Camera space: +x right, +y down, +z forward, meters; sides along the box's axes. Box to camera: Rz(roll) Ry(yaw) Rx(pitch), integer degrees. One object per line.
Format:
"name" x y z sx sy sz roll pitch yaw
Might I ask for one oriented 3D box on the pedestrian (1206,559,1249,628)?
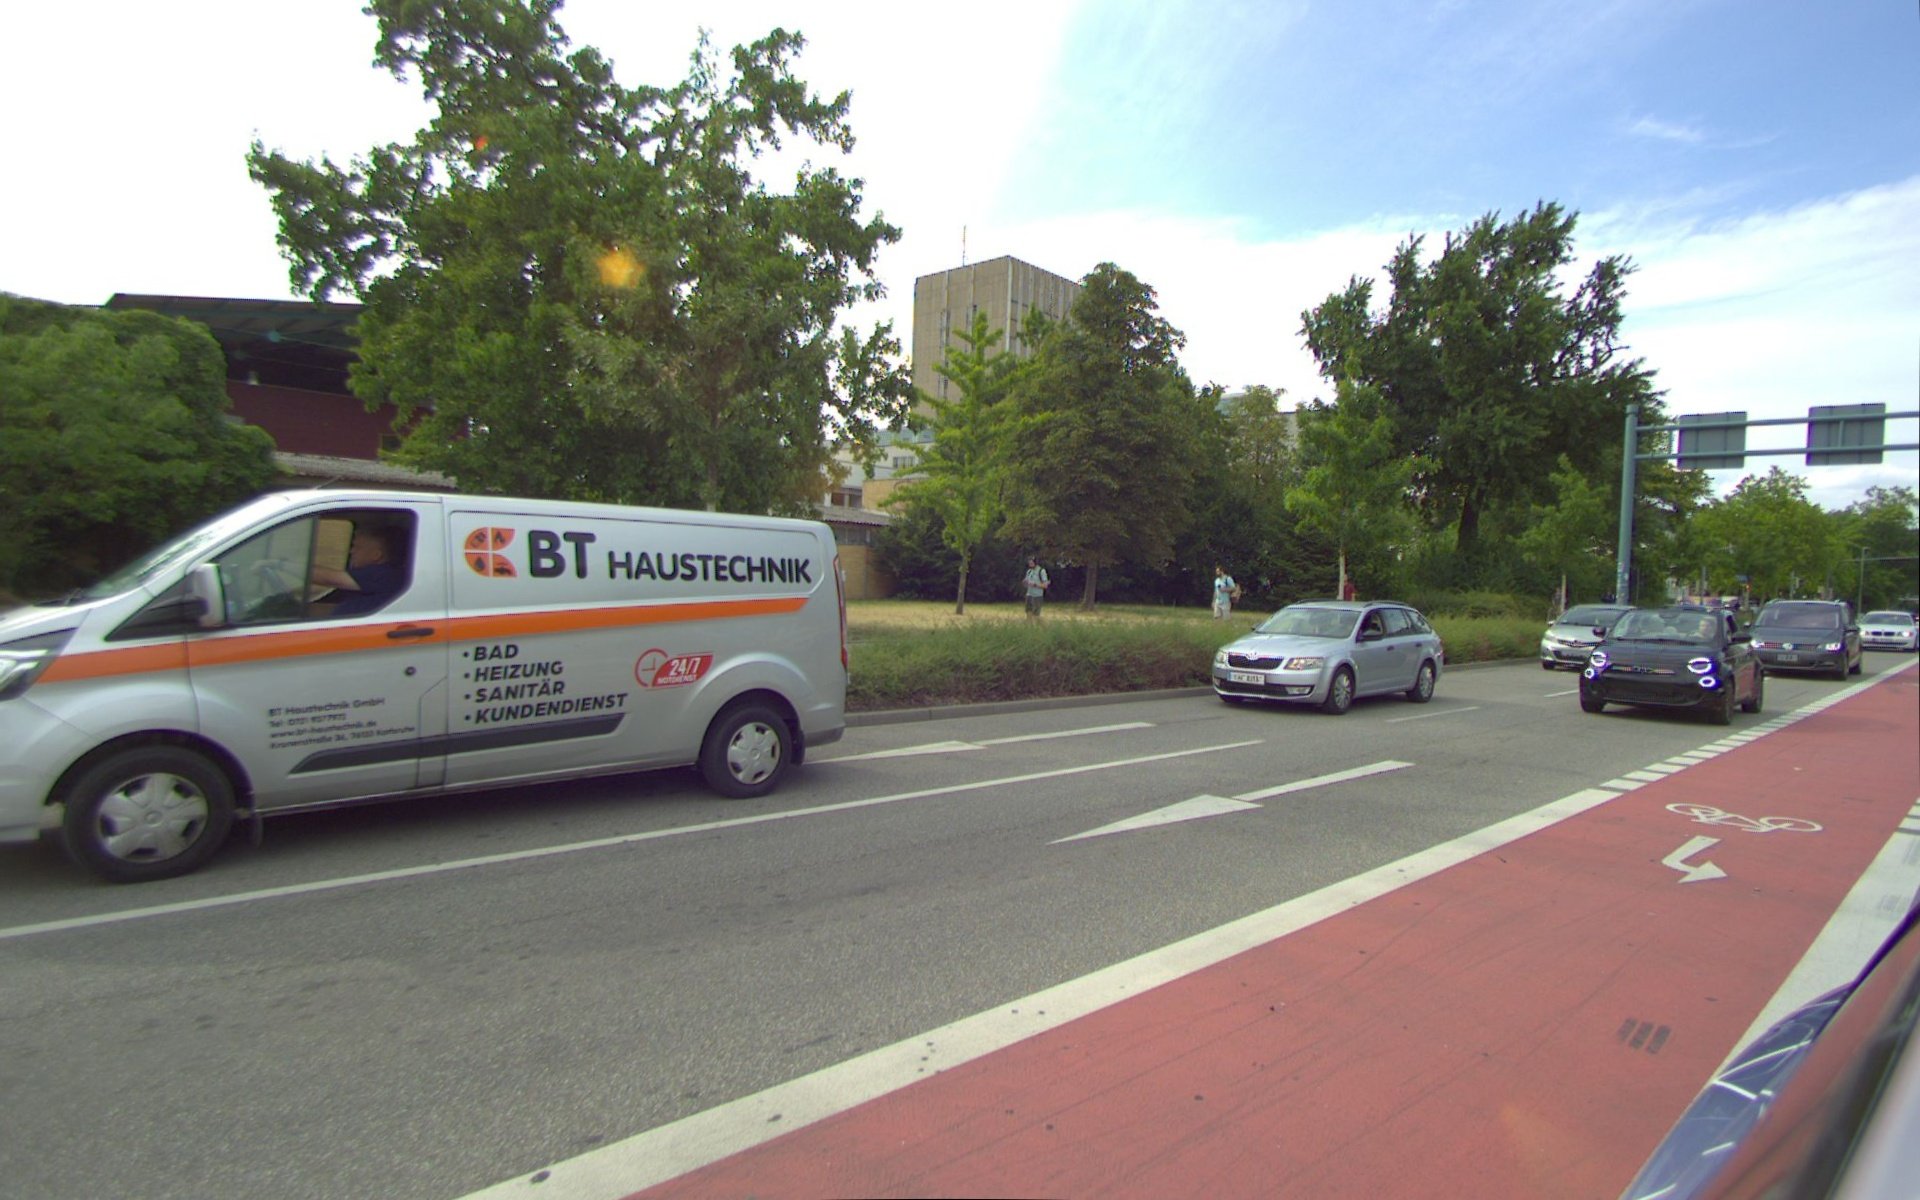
"pedestrian" 6.831 -0.178 25.864 0.839 1.732 0.684 1 0 44

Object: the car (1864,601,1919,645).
"car" 33.628 0.780 36.068 4.152 1.476 1.757 0 1 -43

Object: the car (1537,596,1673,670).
"car" 14.512 0.673 22.690 3.810 1.508 1.668 0 1 -43

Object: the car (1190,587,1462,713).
"car" 5.316 0.591 14.381 4.452 1.493 1.821 0 1 -43

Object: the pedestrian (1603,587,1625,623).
"pedestrian" 31.937 0.217 49.417 0.683 1.732 0.713 0 0 -43

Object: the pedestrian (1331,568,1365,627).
"pedestrian" 11.465 -0.083 29.916 0.683 1.732 0.713 0 0 -43

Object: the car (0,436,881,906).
"car" -3.071 0.284 6.437 5.117 1.984 1.821 0 1 -43

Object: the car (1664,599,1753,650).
"car" 22.603 0.693 30.533 3.401 1.433 1.667 0 1 -45

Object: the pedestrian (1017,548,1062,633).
"pedestrian" 1.655 -0.203 21.077 0.543 1.716 0.684 6 4 44

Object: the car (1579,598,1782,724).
"car" 10.170 0.749 14.216 3.383 1.508 1.668 0 1 -43

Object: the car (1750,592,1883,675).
"car" 19.389 0.677 22.835 4.607 1.671 1.757 0 1 -43

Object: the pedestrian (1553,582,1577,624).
"pedestrian" 25.754 0.118 43.082 0.683 1.732 0.713 0 0 -43
